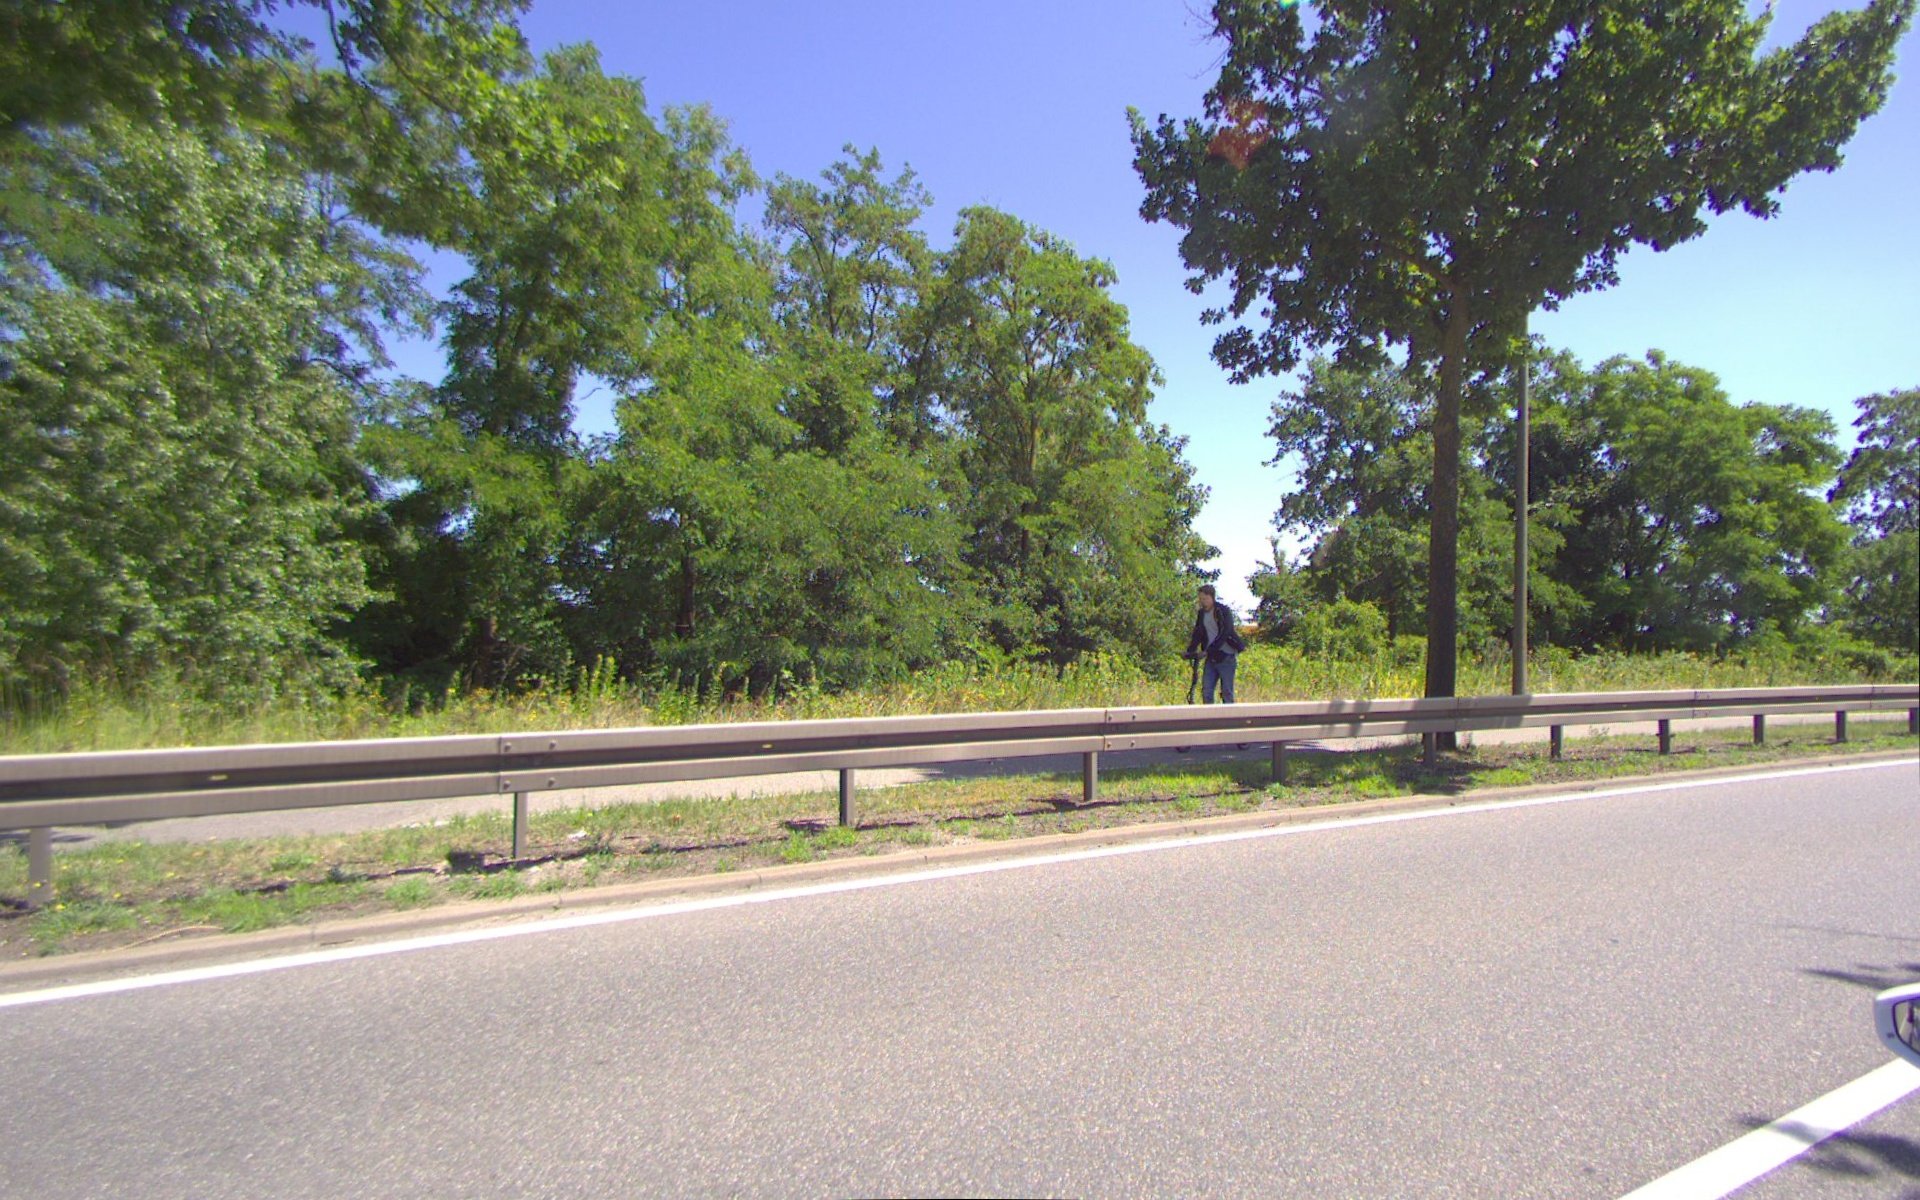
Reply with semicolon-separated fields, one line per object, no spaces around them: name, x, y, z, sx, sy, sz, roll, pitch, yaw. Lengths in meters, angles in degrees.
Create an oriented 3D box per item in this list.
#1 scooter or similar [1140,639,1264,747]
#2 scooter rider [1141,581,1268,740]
scooter or similar;2.682;1.009;11.176;1.080;1.105;0.774;2;0;-25
scooter rider;2.709;0.652;11.172;1.106;1.679;0.774;2;0;-25
